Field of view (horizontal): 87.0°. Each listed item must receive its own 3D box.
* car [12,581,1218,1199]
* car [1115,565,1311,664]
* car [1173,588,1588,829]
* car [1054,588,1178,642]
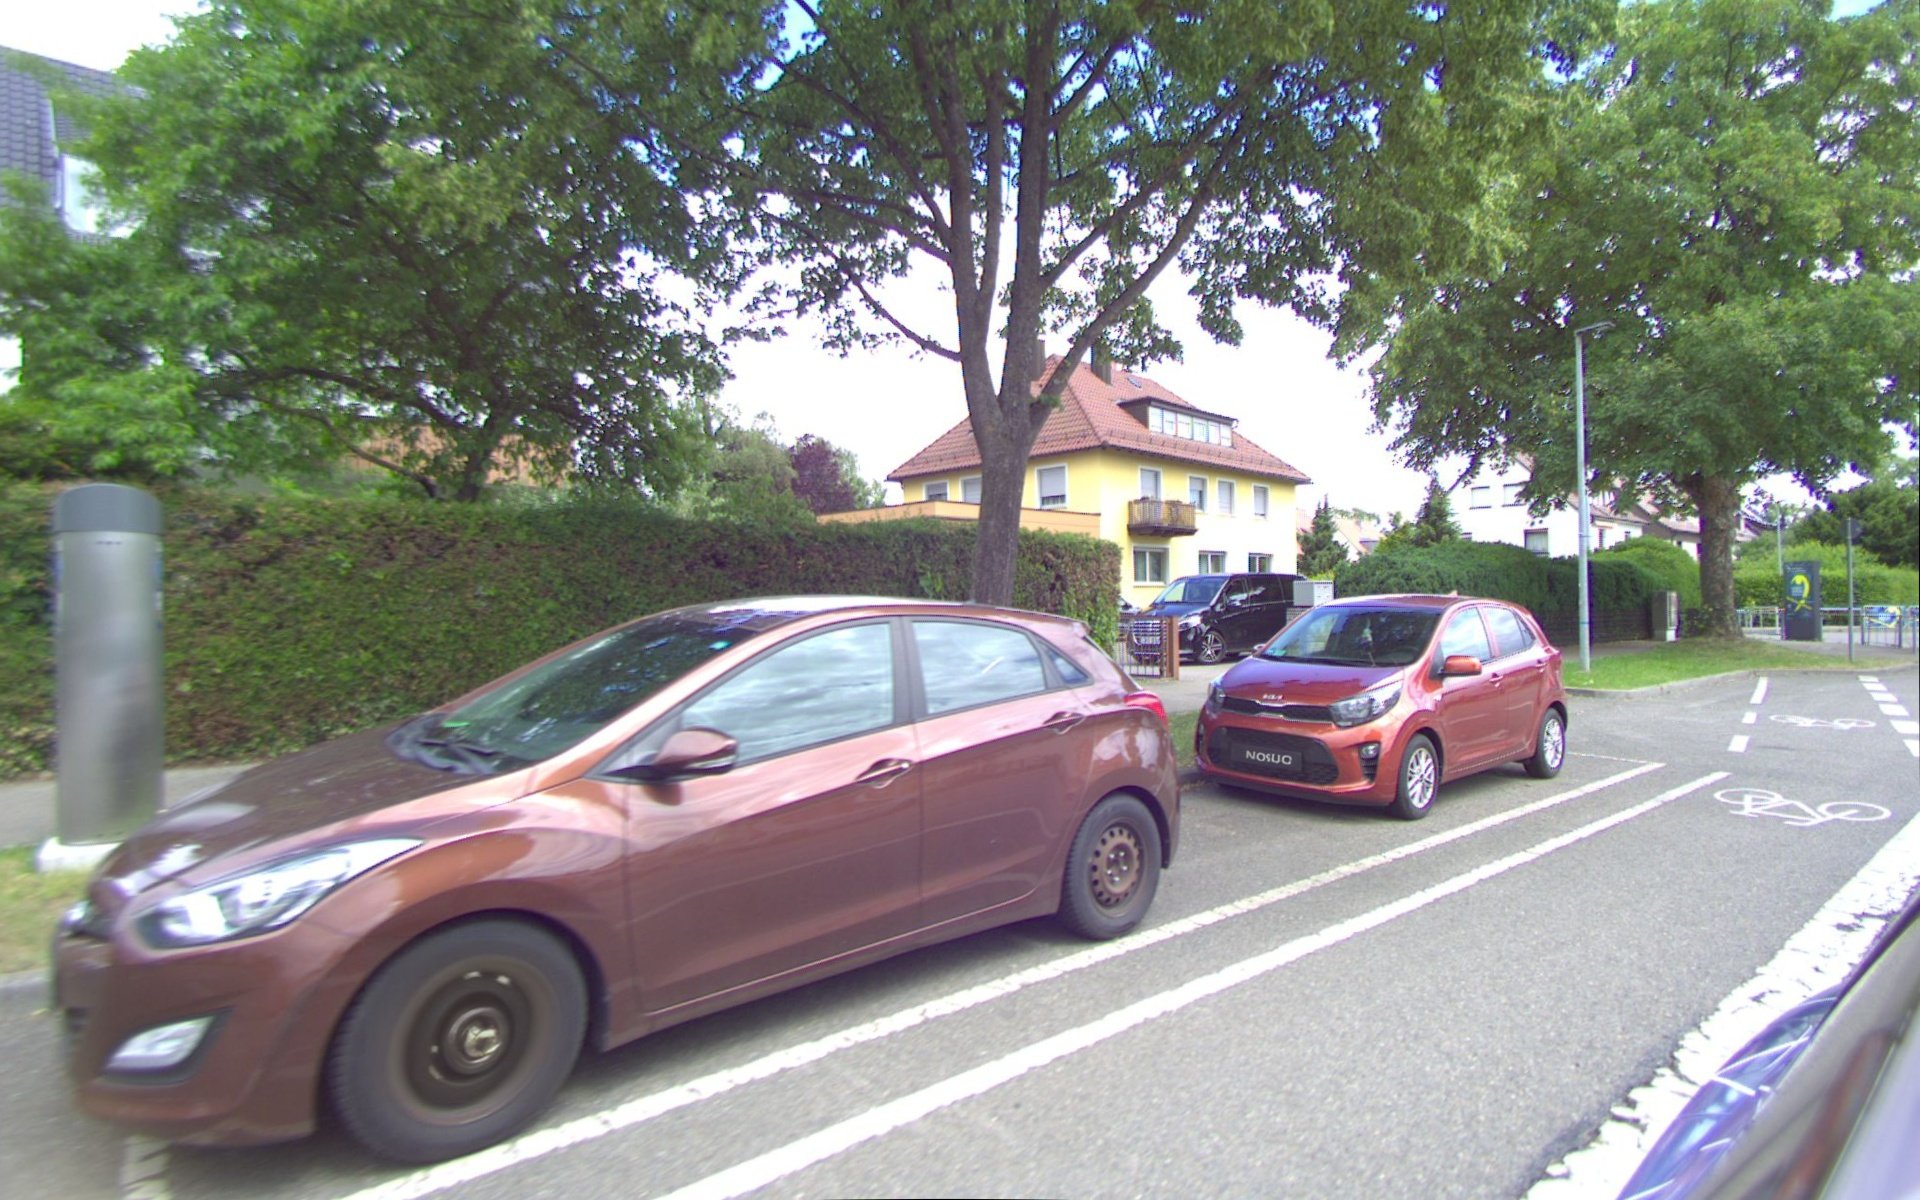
[{"bbox_3d":[-0.885,0.674,4.012,4.104,1.433,1.656,0,1,-41],"label":"car"},{"bbox_3d":[5.434,0.295,21.455,4.390,1.905,1.818,0,-2,-41],"label":"car"},{"bbox_3d":[3.433,0.659,7.978,3.604,1.474,1.568,0,0,-40],"label":"car"},{"bbox_3d":[4.996,0.471,32.144,3.902,1.603,1.771,0,-2,-41],"label":"car"}]
